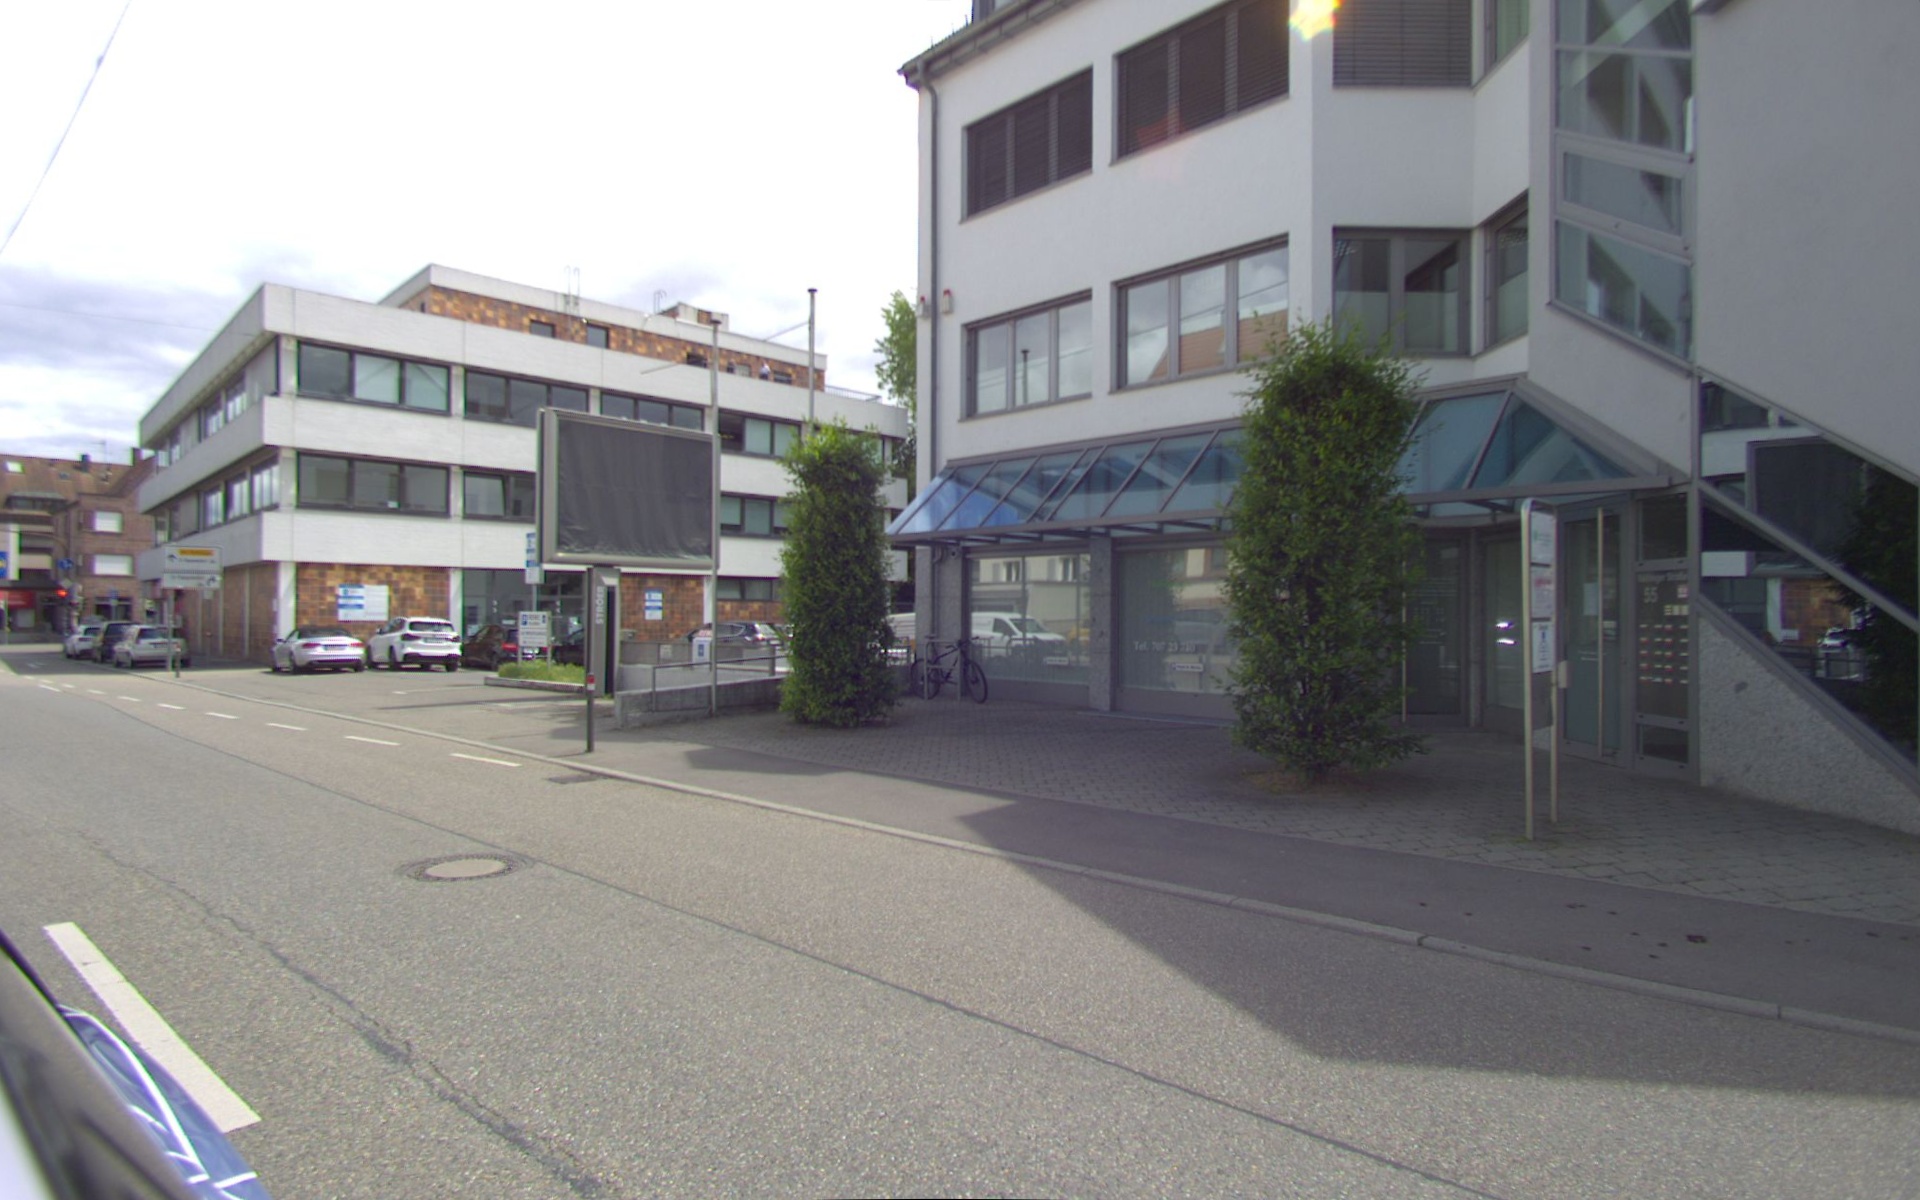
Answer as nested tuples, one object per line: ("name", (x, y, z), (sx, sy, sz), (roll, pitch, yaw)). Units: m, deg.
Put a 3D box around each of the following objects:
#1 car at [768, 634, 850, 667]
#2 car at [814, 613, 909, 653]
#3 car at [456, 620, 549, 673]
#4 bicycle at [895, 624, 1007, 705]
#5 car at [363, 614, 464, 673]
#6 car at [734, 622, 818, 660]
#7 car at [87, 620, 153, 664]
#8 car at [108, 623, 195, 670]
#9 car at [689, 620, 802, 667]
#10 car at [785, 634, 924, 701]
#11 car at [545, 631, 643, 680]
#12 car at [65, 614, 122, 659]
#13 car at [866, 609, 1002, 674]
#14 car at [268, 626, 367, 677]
("car", (-6.596, 2.152, 43.974), (1.637, 1.269, 3.860), (0, -1, -42))
("car", (-4.487, 1.442, 45.783), (1.948, 1.678, 4.431), (0, -1, -44))
("car", (-15.417, 1.507, 34.027), (3.844, 1.620, 1.625), (-1, -1, 45))
("bicycle", (-0.151, 0.951, 15.453), (1.684, 1.150, 0.636), (-1, -1, 37))
("car", (-17.158, 1.345, 31.730), (1.870, 1.710, 3.805), (4, -3, -42))
("car", (-7.737, 1.688, 42.323), (1.644, 1.451, 3.860), (0, -1, -42))
("car", (-32.356, 1.576, 38.955), (1.783, 1.541, 4.005), (0, -1, -42))
("car", (-27.541, 1.538, 34.438), (4.220, 1.437, 1.815), (-1, -1, 44))
("car", (-7.478, 1.468, 35.042), (4.002, 1.485, 1.971), (-1, -1, 45))
("car", (-3.054, 1.849, 28.797), (3.951, 1.678, 1.798), (-1, -1, 44))
("car", (-13.227, 1.949, 36.500), (3.665, 1.578, 1.773), (-1, -1, 41))
("car", (-36.400, 1.490, 42.480), (1.678, 1.790, 4.466), (0, -1, -42))
("car", (-0.835, 1.192, 30.554), (3.989, 1.829, 1.833), (-1, -1, 44))
("car", (-19.219, 1.468, 30.199), (1.798, 1.338, 4.241), (0, -1, -42))
